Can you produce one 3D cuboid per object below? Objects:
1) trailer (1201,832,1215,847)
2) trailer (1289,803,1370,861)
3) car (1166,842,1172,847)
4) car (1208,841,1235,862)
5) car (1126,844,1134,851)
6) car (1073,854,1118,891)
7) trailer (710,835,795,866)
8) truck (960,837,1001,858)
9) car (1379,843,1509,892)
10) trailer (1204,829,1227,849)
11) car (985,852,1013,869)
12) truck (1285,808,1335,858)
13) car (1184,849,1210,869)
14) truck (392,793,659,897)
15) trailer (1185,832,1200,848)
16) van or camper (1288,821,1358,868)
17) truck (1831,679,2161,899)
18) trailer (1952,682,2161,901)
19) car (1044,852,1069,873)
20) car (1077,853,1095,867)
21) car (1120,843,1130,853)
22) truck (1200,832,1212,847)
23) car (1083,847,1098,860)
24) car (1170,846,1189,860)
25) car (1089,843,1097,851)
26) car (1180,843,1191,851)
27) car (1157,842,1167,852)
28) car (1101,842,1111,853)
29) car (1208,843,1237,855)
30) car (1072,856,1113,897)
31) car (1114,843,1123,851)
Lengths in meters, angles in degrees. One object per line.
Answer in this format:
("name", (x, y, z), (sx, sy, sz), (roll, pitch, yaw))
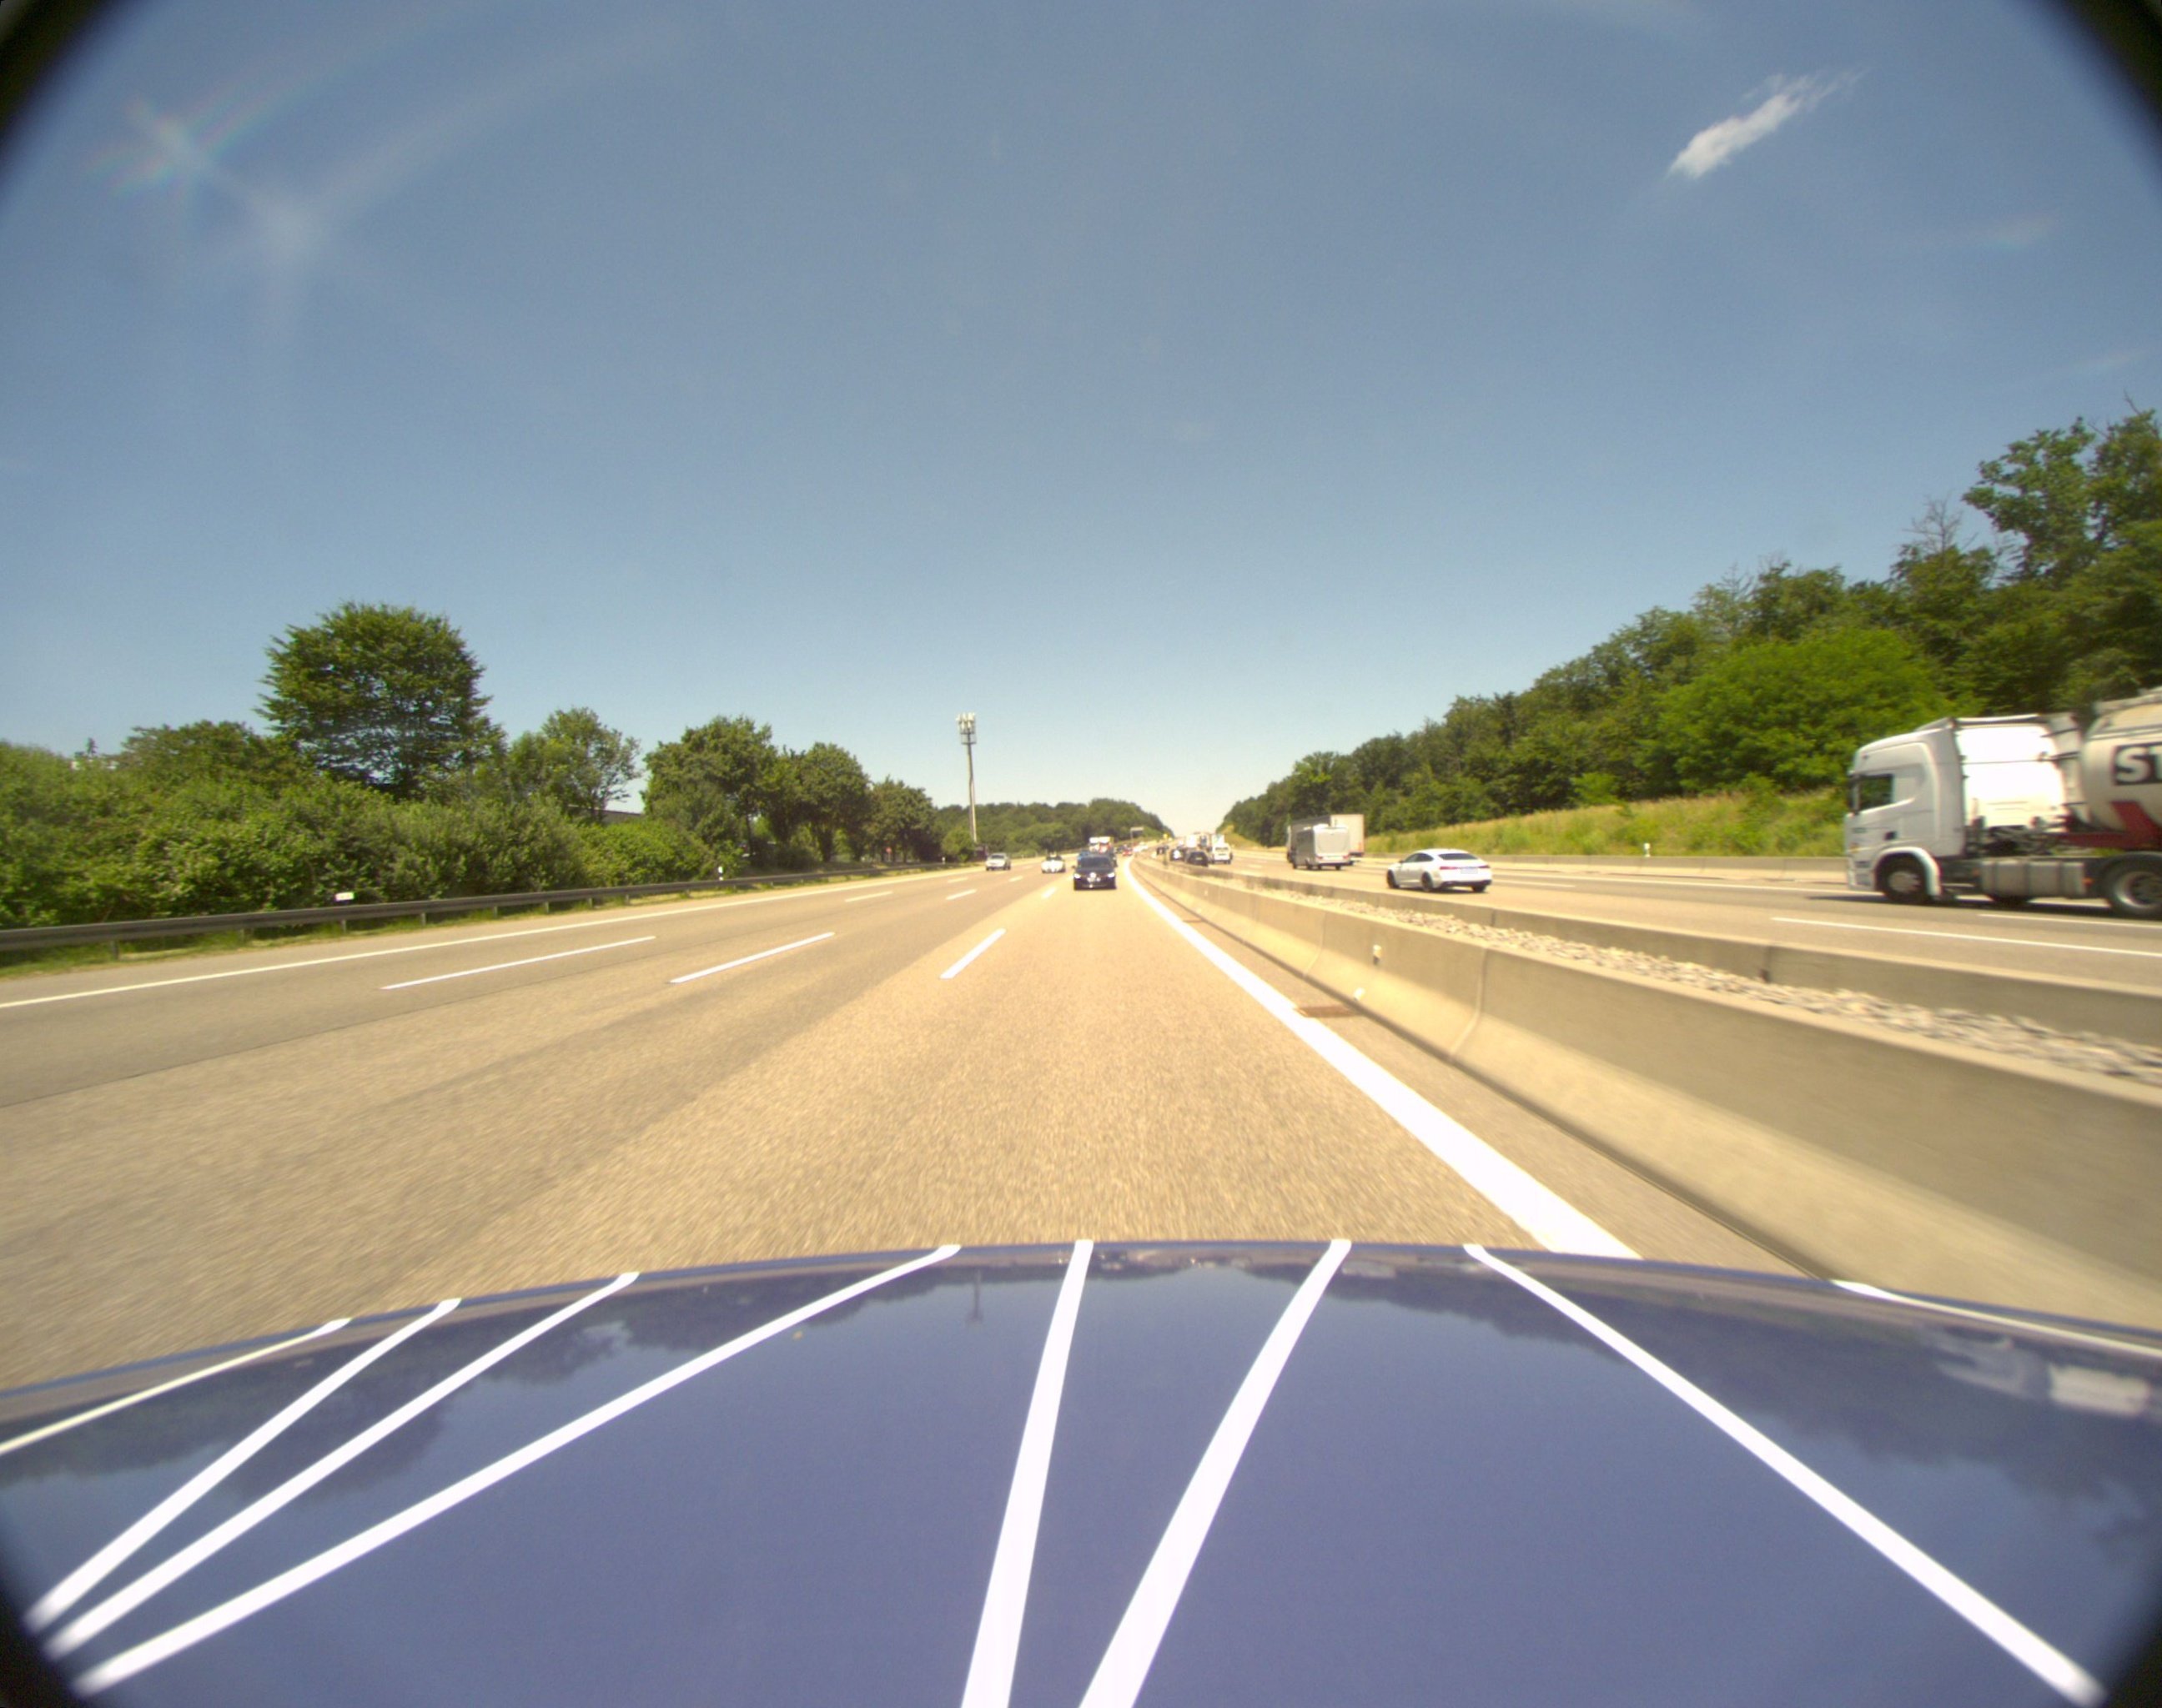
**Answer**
("trailer", (34.517, -3.921, 206.928), (2.729, 3.901, 10.765), (-2, 1, 5))
("trailer", (20.875, -1.805, 65.050), (3.038, 4.335, 14.277), (-2, 1, 4))
("car", (26.480, -2.977, 228.559), (1.753, 1.510, 4.828), (-2, 1, 6))
("car", (14.110, -0.251, 76.805), (2.007, 2.002, 5.185), (-1, 1, 3))
("car", (15.095, -2.026, 234.409), (1.998, 2.002, 3.999), (-2, 1, 0))
("car", (0.674, 0.744, 33.088), (1.760, 1.430, 4.000), (-1, 1, 3))
("trailer", (-43.861, -0.561, 101.858), (10.135, 3.696, 2.237), (-3, 2, -45))
("truck", (-18.900, -1.299, 143.760), (2.748, 3.551, 12.337), (-2, 1, 17))
("car", (11.980, 0.397, 25.523), (1.998, 1.451, 5.047), (-1, 0, 1))
("trailer", (28.027, -3.125, 158.858), (3.236, 4.014, 15.289), (-1, 1, 4))
("car", (-7.826, 0.640, 73.056), (1.998, 1.521, 4.000), (-1, 1, 3))
("truck", (21.318, -1.913, 71.122), (3.049, 4.347, 6.456), (-2, 1, 4))
("car", (9.917, 0.374, 65.262), (1.678, 1.488, 4.952), (-2, 1, 3))
("truck", (-33.600, -0.518, 47.909), (3.527, 5.289, 16.391), (-2, 0, 5))
("trailer", (30.399, -3.814, 207.760), (2.943, 4.077, 12.155), (-2, 1, 5))
("van or camper", (16.288, -0.617, 51.653), (2.564, 2.914, 7.350), (-1, 1, 2))
("truck", (18.751, -1.132, 14.342), (2.710, 3.523, 6.620), (-2, 1, 1))
("trailer", (18.637, -1.012, 9.920), (2.658, 3.515, 10.493), (-2, 1, 1))
("car", (-1.955, 0.662, 61.214), (1.729, 1.521, 3.741), (-1, 1, 1))
("car", (0.650, 0.730, 96.383), (1.998, 1.521, 4.234), (-2, 1, 3))
("car", (9.018, -1.238, 155.245), (1.998, 2.001, 4.002), (-3, -1, 5))
("truck", (35.087, -4.084, 213.600), (2.727, 3.991, 6.939), (-2, 0, 5))
("car", (1.551, -0.079, 122.698), (1.998, 2.002, 4.000), (-2, 1, 5))
("car", (11.975, -0.176, 92.557), (1.877, 1.624, 5.164), (-1, 1, 3))
("car", (3.419, -1.936, 208.983), (1.898, 2.002, 3.808), (-2, 1, 4))
("car", (20.657, -1.302, 150.120), (1.779, 1.456, 4.000), (-2, 1, 3))
("car", (16.139, -1.365, 151.609), (1.831, 1.819, 4.985), (-1, 1, 4))
("car", (6.109, -1.577, 185.533), (2.234, 2.372, 4.161), (-2, 1, 1))
("car", (18.390, -0.643, 98.868), (2.000, 1.487, 4.793), (-2, 1, -11))
("car", (0.479, 0.822, 29.370), (1.447, 1.376, 3.049), (-2, 1, 3))
("car", (9.390, -1.704, 189.746), (1.998, 1.848, 3.999), (-2, 1, 1))
